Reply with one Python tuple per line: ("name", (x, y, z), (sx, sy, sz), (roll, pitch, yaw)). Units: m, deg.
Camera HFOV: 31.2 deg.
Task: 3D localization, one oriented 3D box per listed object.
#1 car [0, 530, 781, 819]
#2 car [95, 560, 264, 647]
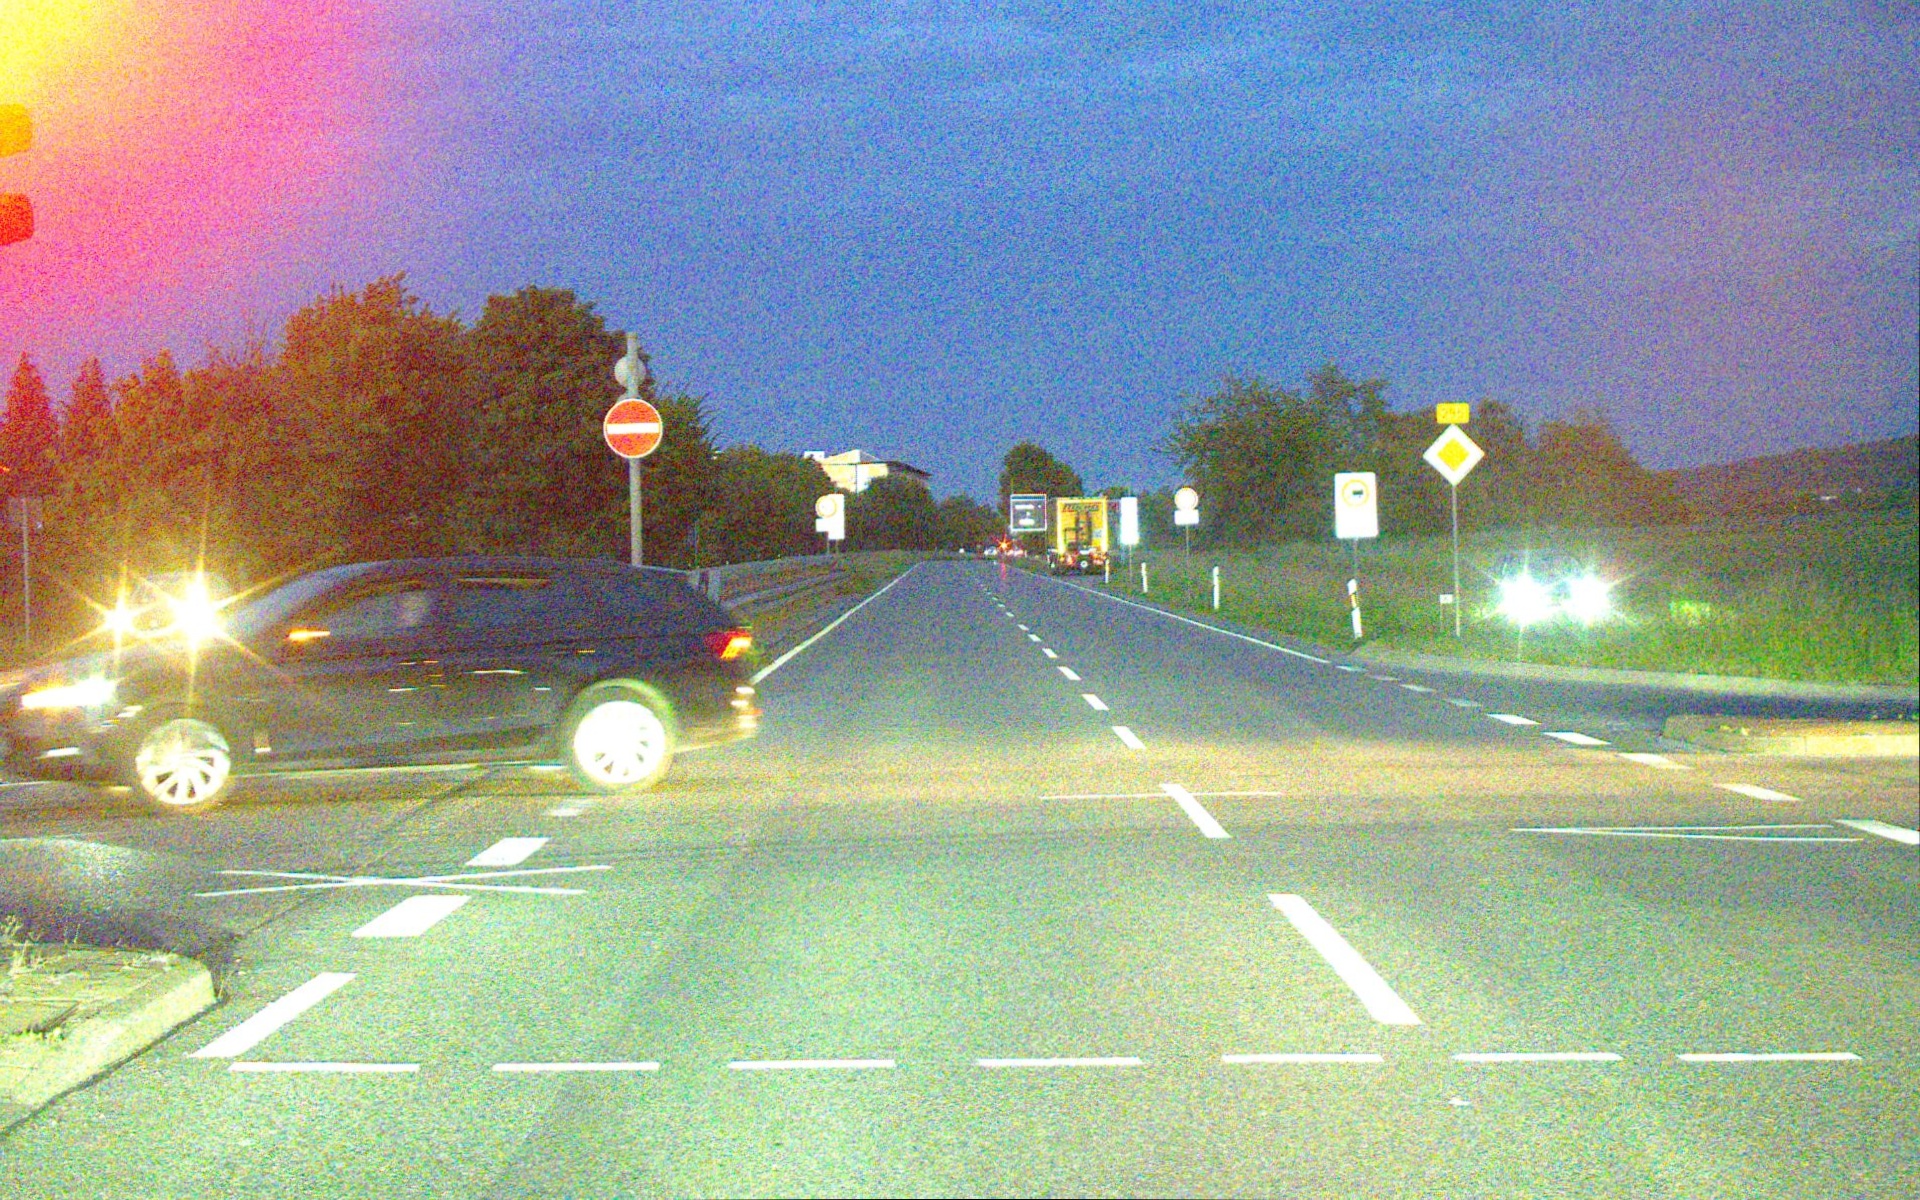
("car", (-3.634, 0.395, 21.212), (4.600, 1.515, 2.000), (-2, 1, -24))
("car", (-13.275, 0.036, 58.718), (1.993, 1.382, 4.000), (-1, 1, -1))
